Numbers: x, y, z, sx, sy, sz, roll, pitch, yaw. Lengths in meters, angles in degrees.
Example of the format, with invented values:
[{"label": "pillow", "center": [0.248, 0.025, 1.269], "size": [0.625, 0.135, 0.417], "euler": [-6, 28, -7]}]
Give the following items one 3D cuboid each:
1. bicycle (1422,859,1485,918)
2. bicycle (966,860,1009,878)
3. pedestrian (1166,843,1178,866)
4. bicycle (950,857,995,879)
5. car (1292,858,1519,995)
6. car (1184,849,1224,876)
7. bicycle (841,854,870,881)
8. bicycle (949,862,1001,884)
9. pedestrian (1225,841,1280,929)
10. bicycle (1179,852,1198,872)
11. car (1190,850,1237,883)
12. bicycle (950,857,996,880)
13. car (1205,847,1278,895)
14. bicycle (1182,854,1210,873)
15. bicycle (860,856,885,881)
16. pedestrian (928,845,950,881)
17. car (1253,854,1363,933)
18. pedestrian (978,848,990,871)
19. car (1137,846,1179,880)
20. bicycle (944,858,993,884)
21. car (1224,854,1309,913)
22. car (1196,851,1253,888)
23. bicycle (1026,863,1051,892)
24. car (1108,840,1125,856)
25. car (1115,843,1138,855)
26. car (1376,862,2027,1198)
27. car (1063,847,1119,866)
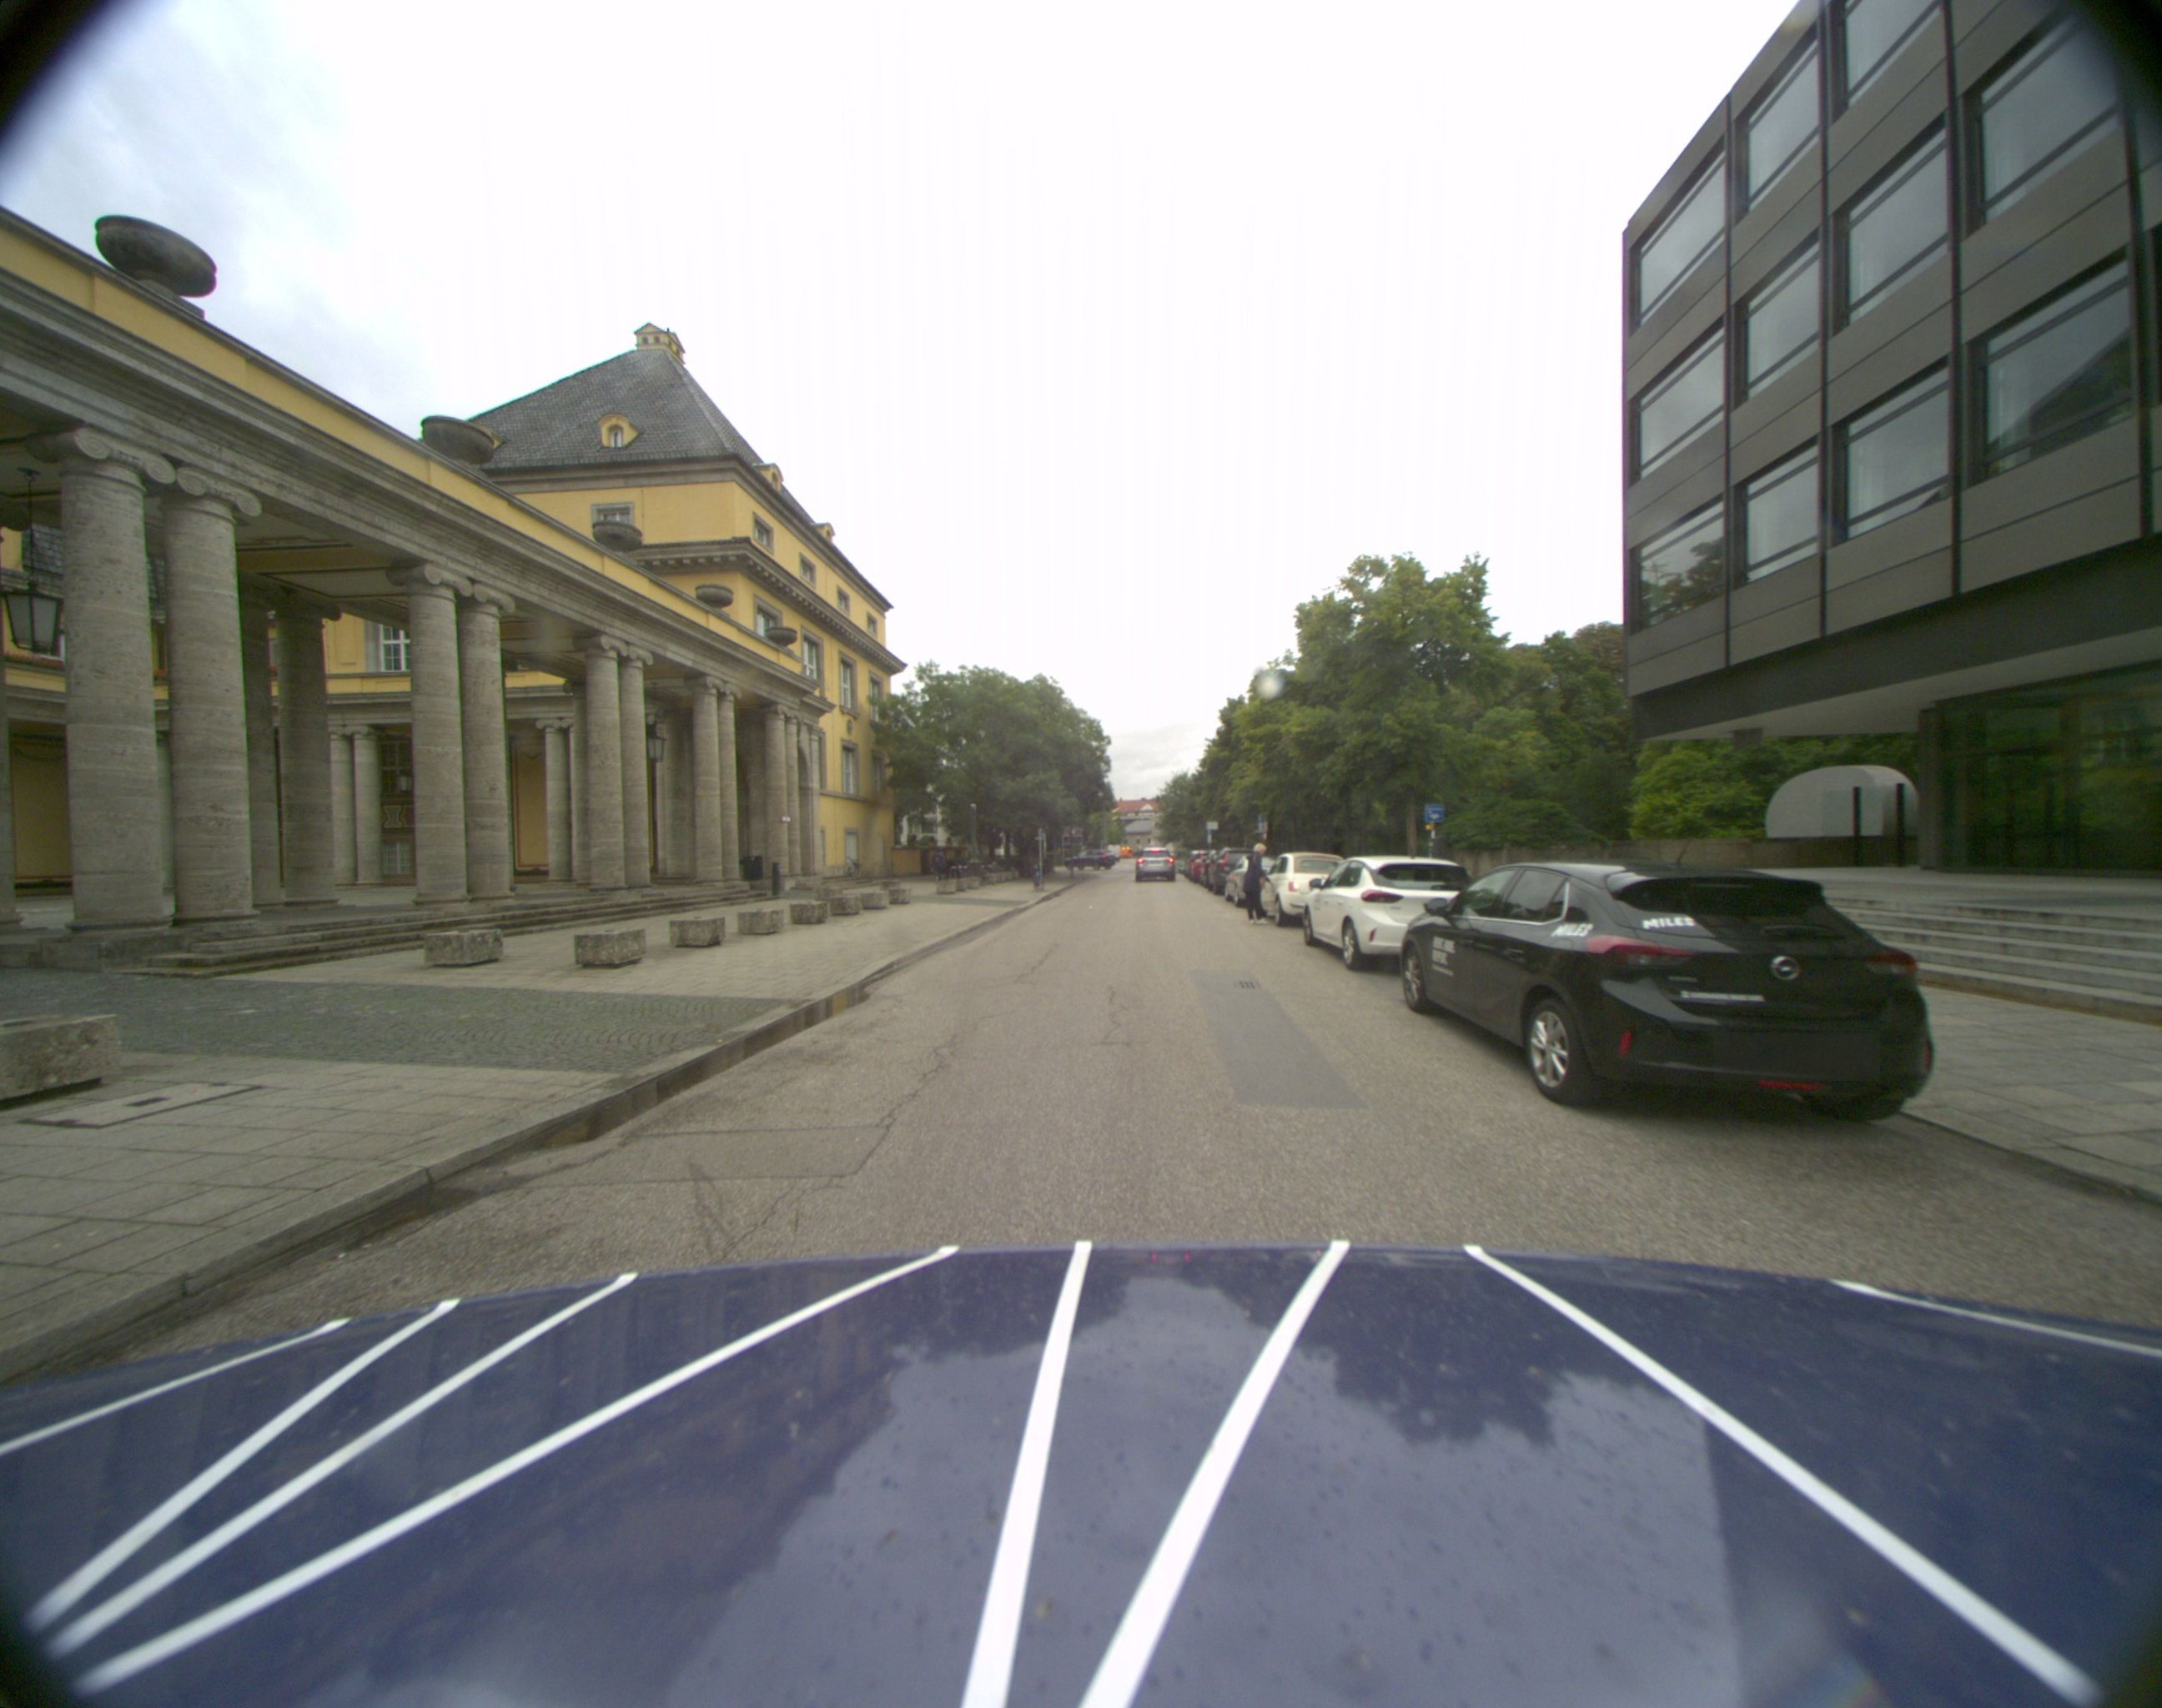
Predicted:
[{"label": "bicycle", "center": [8.103, 0.724, 16.592], "size": [0.644, 1.157, 1.527], "euler": [-4, 0, 3]}, {"label": "bicycle", "center": [-5.174, 0.825, 42.002], "size": [2.261, 1.005, 0.602], "euler": [1, 0, 7]}, {"label": "pedestrian", "center": [7.135, 0.057, 59.512], "size": [0.798, 1.722, 0.660], "euler": [-4, 1, 3]}, {"label": "bicycle", "center": [-5.684, 0.741, 39.879], "size": [2.264, 1.018, 0.601], "euler": [4, 1, -6]}, {"label": "car", "center": [4.258, 0.832, 10.742], "size": [1.685, 1.432, 4.280], "euler": [1, 1, 5]}, {"label": "car", "center": [7.097, 0.444, 44.083], "size": [1.998, 1.452, 4.365], "euler": [-1, 0, 6]}, {"label": "bicycle", "center": [-11.284, 0.672, 38.122], "size": [0.601, 1.299, 2.264], "euler": [-1, 1, 5]}, {"label": "bicycle", "center": [-4.998, 0.894, 35.933], "size": [2.369, 1.000, 0.677], "euler": [1, 1, -4]}, {"label": "pedestrian", "center": [3.531, 0.620, 15.633], "size": [0.895, 1.742, 0.688], "euler": [0, 1, -45]}, {"label": "bicycle", "center": [7.240, 0.533, 51.045], "size": [0.574, 1.275, 1.421], "euler": [-2, 1, 37]}, {"label": "car", "center": [6.497, 0.570, 37.652], "size": [1.998, 1.535, 4.365], "euler": [-1, 0, 6]}, {"label": "bicycle", "center": [-5.537, 0.739, 38.952], "size": [2.264, 1.053, 0.601], "euler": [4, 1, -6]}, {"label": "car", "center": [5.649, 0.537, 27.291], "size": [1.998, 1.574, 4.523], "euler": [-1, 0, 4]}, {"label": "bicycle", "center": [7.472, 0.615, 49.495], "size": [1.699, 1.101, 0.598], "euler": [-2, 1, -4]}, {"label": "bicycle", "center": [-11.086, 0.760, 40.474], "size": [0.601, 1.299, 2.165], "euler": [-1, 1, 4]}, {"label": "pedestrian", "center": [-6.899, 0.442, 37.022], "size": [0.789, 1.736, 1.056], "euler": [-1, 1, 4]}, {"label": "car", "center": [4.730, 0.751, 16.293], "size": [1.547, 1.462, 3.554], "euler": [0, 1, 4]}, {"label": "pedestrian", "center": [-7.770, 0.427, 60.758], "size": [0.741, 1.734, 0.841], "euler": [2, 2, 4]}, {"label": "car", "center": [4.062, 0.417, 39.983], "size": [2.029, 1.679, 4.679], "euler": [-1, 0, 6]}, {"label": "bicycle", "center": [-5.508, 0.841, 37.301], "size": [2.264, 1.088, 0.601], "euler": [4, 1, -6]}, {"label": "car", "center": [5.113, 0.746, 21.441], "size": [1.761, 1.392, 4.219], "euler": [2, 1, 6]}, {"label": "car", "center": [6.134, 0.614, 32.982], "size": [1.998, 1.452, 4.648], "euler": [-1, 0, 6]}, {"label": "bicycle", "center": [-1.767, 0.973, 31.699], "size": [0.762, 1.094, 2.264], "euler": [1, 1, 4]}, {"label": "car", "center": [5.553, -0.967, 119.930], "size": [2.236, 2.289, 4.729], "euler": [-4, 1, -1]}, {"label": "car", "center": [10.815, -1.248, 182.595], "size": [2.577, 2.521, 4.975], "euler": [-5, 1, -42]}, {"label": "car", "center": [3.733, 0.847, 5.730], "size": [1.743, 1.452, 4.238], "euler": [1, 1, 6]}, {"label": "car", "center": [0.855, 0.203, 68.568], "size": [4.897, 1.672, 1.971], "euler": [1, 1, 41]}]
